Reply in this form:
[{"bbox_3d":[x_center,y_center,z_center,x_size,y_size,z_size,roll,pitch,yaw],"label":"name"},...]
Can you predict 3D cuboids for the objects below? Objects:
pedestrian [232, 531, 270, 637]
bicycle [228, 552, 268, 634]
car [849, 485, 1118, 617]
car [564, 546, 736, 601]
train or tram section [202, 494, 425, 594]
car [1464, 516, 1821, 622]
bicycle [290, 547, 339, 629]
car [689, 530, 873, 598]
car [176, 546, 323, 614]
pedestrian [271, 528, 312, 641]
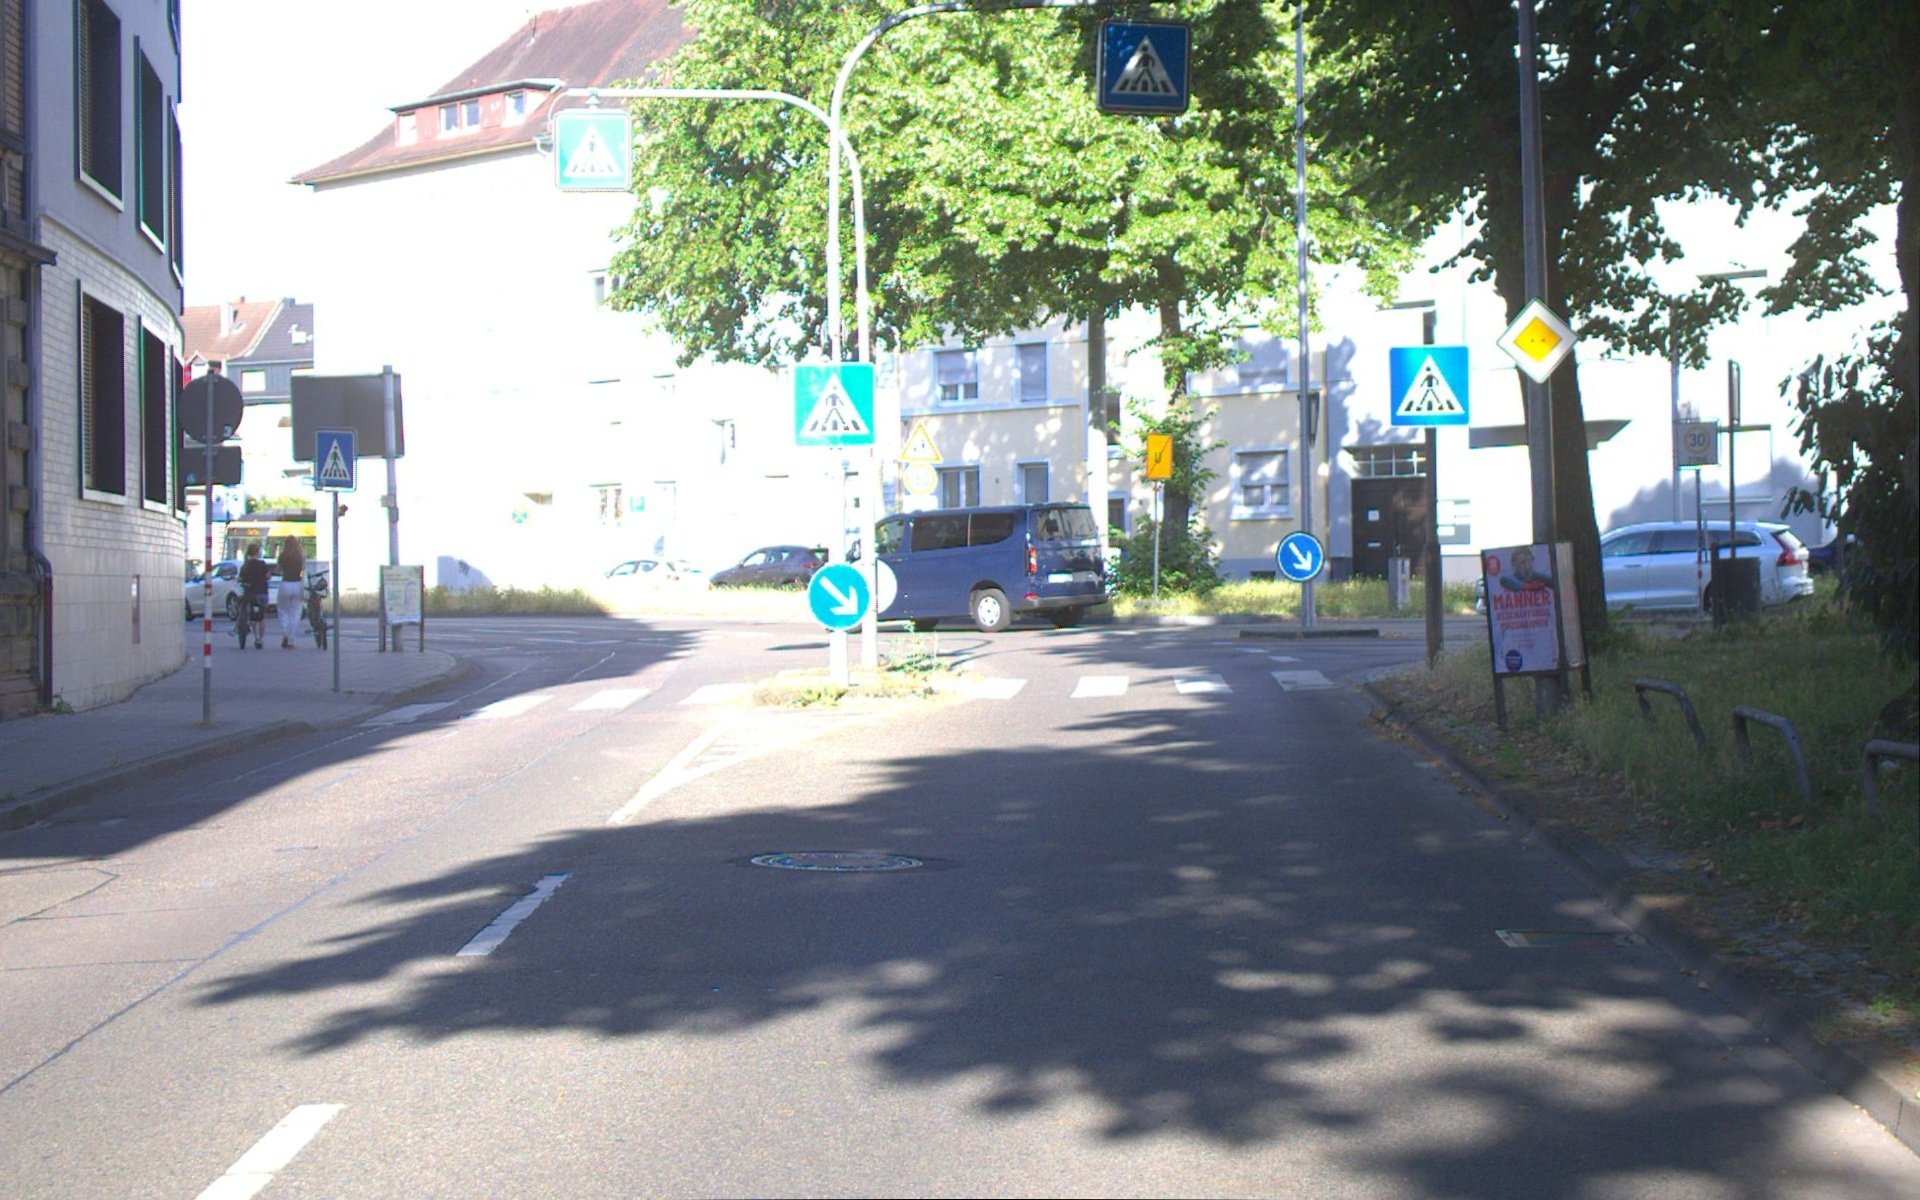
[{"bbox_3d":[-10.501,-0.237,50.913,0.474,1.559,0.602,0,1,-19],"label":"pedestrian"},{"bbox_3d":[-10.520,-0.118,50.792,0.375,1.163,1.838,-2,2,-17],"label":"bicycle"},{"bbox_3d":[0.342,-0.766,54.408,3.997,2.007,1.995,1,1,44],"label":"car"},{"bbox_3d":[-8.115,-0.704,89.851,4.443,1.381,1.995,1,2,43],"label":"car"},{"bbox_3d":[-23.773,-2.065,127.083,2.779,3.543,9.906,0,1,26],"label":"train or tram section"},{"bbox_3d":[9.796,-0.448,49.337,4.762,1.458,1.853,0,2,21],"label":"car"},{"bbox_3d":[-9.562,-0.191,50.867,0.440,1.174,1.967,0,1,-19],"label":"bicycle"},{"bbox_3d":[-4.512,-0.895,86.019,1.995,1.567,4.638,-2,1,-44],"label":"car"},{"bbox_3d":[-16.714,-0.478,80.737,1.959,1.500,3.684,-3,2,-37],"label":"car"},{"bbox_3d":[-9.904,-0.229,50.915,0.474,1.642,0.602,-2,1,-19],"label":"pedestrian"}]
